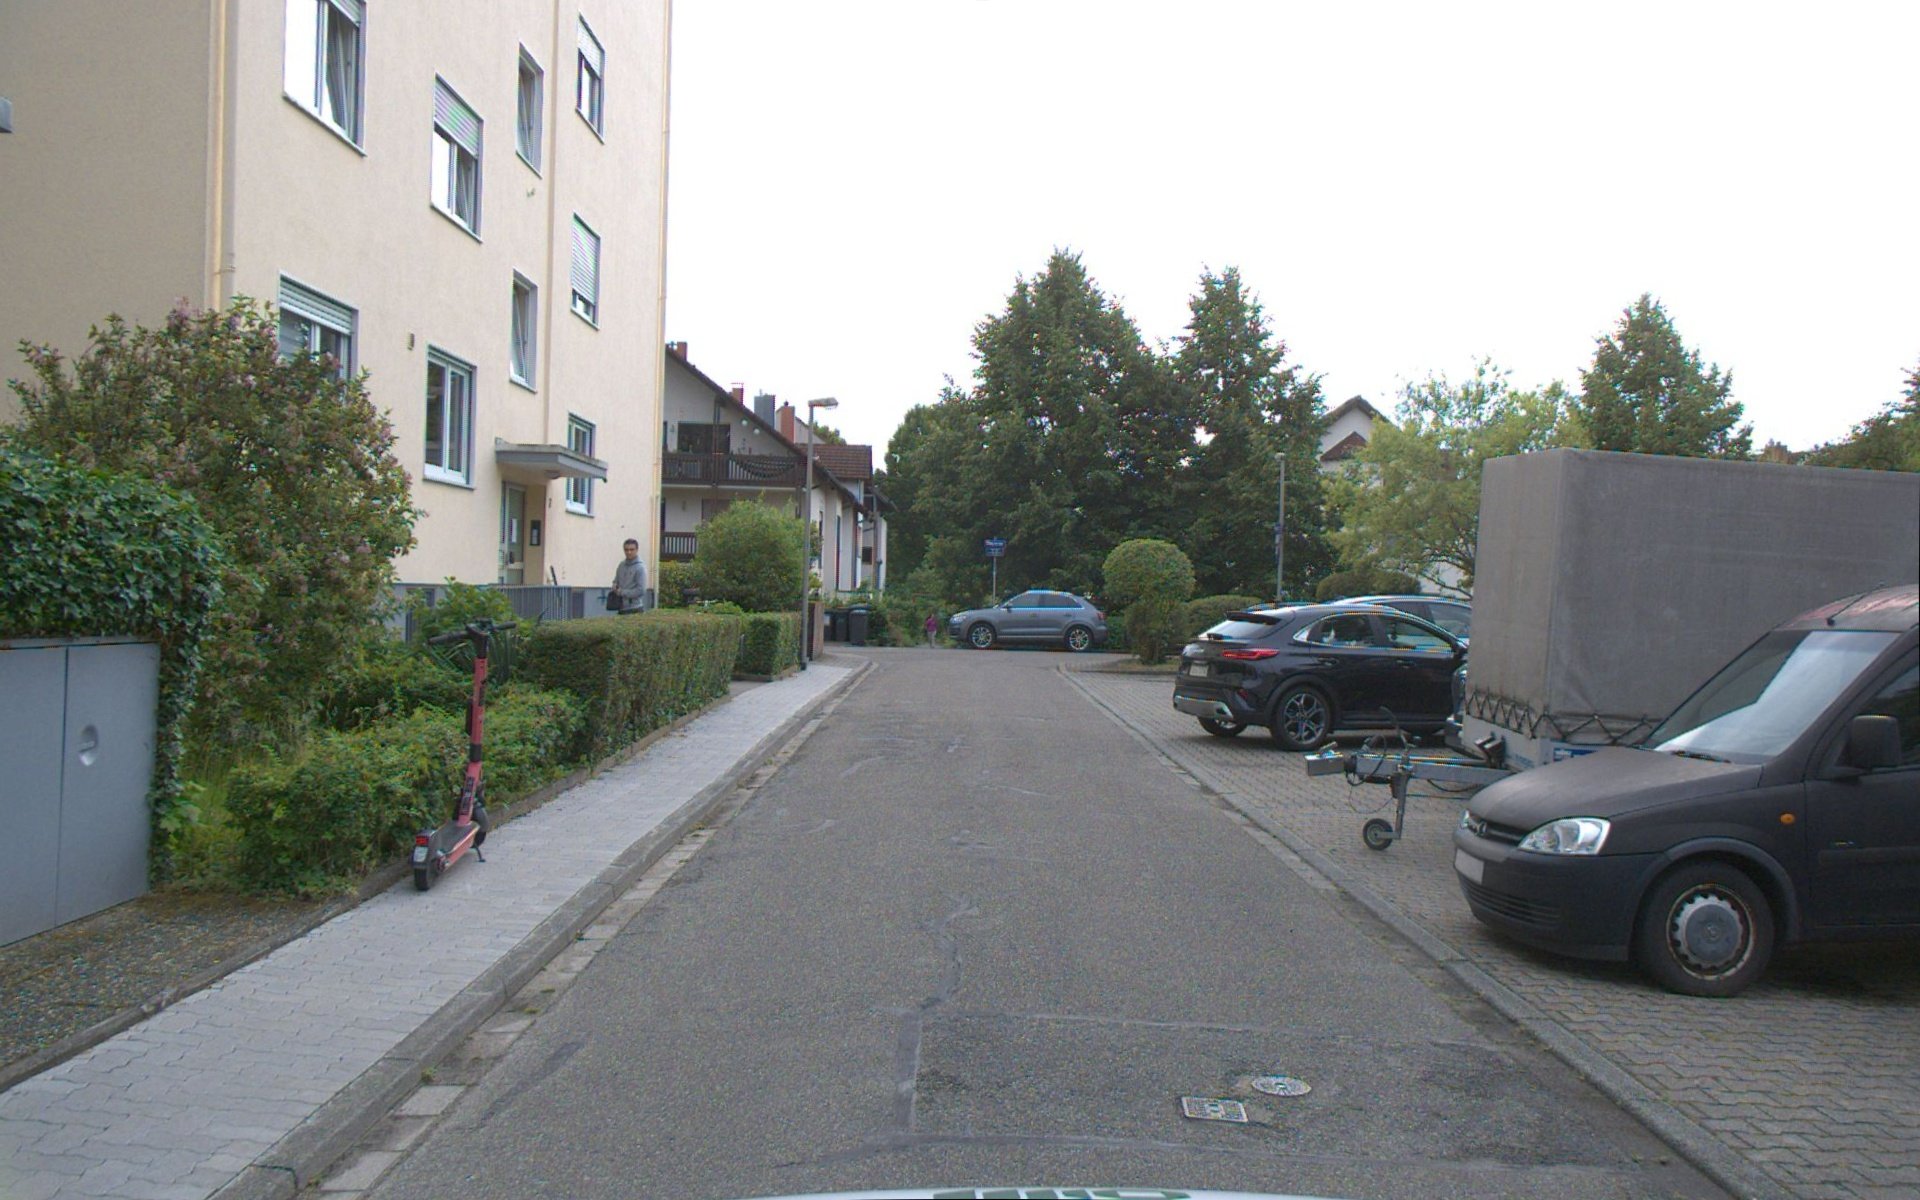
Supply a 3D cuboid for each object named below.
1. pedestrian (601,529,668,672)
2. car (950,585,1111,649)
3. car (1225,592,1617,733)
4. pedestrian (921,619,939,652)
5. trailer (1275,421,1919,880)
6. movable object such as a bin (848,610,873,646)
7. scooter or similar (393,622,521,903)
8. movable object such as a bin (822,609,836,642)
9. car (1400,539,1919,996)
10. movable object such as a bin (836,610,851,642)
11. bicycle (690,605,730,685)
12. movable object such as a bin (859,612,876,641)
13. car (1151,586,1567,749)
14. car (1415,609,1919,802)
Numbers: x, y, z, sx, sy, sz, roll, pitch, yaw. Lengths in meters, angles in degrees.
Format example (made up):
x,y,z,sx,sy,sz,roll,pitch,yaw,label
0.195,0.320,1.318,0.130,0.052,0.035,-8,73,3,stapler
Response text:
x,y,z,sx,sy,sz,roll,pitch,yaw,label
-4.170,0.004,21.220,0.665,1.779,0.756,2,0,-2,pedestrian
1.829,0.478,43.848,4.151,1.558,1.747,2,-2,-1,car
5.750,0.749,21.083,4.443,1.616,1.988,1,0,1,car
-1.441,1.697,78.743,0.799,1.544,0.438,1,-1,-3,pedestrian
4.486,0.306,10.594,4.515,2.569,1.942,2,0,0,trailer
-2.757,0.774,45.855,0.625,0.970,0.723,2,0,-1,movable object such as a bin
-2.424,0.742,8.042,0.267,1.232,1.164,1,1,-1,scooter or similar
-3.757,0.722,47.469,0.378,0.917,0.379,2,0,-3,movable object such as a bin
4.460,0.647,7.779,4.223,1.833,2.000,-1,0,-1,car
-3.347,0.739,47.505,0.378,0.905,0.379,2,0,-3,movable object such as a bin
-3.551,0.621,23.515,0.311,1.094,1.418,2,0,0,bicycle
-2.672,0.771,47.886,0.450,0.811,0.379,2,0,-3,movable object such as a bin
4.253,0.660,17.899,3.919,1.579,1.993,-1,0,-14,car
6.124,0.855,14.066,4.043,1.474,1.612,1,0,-1,car
